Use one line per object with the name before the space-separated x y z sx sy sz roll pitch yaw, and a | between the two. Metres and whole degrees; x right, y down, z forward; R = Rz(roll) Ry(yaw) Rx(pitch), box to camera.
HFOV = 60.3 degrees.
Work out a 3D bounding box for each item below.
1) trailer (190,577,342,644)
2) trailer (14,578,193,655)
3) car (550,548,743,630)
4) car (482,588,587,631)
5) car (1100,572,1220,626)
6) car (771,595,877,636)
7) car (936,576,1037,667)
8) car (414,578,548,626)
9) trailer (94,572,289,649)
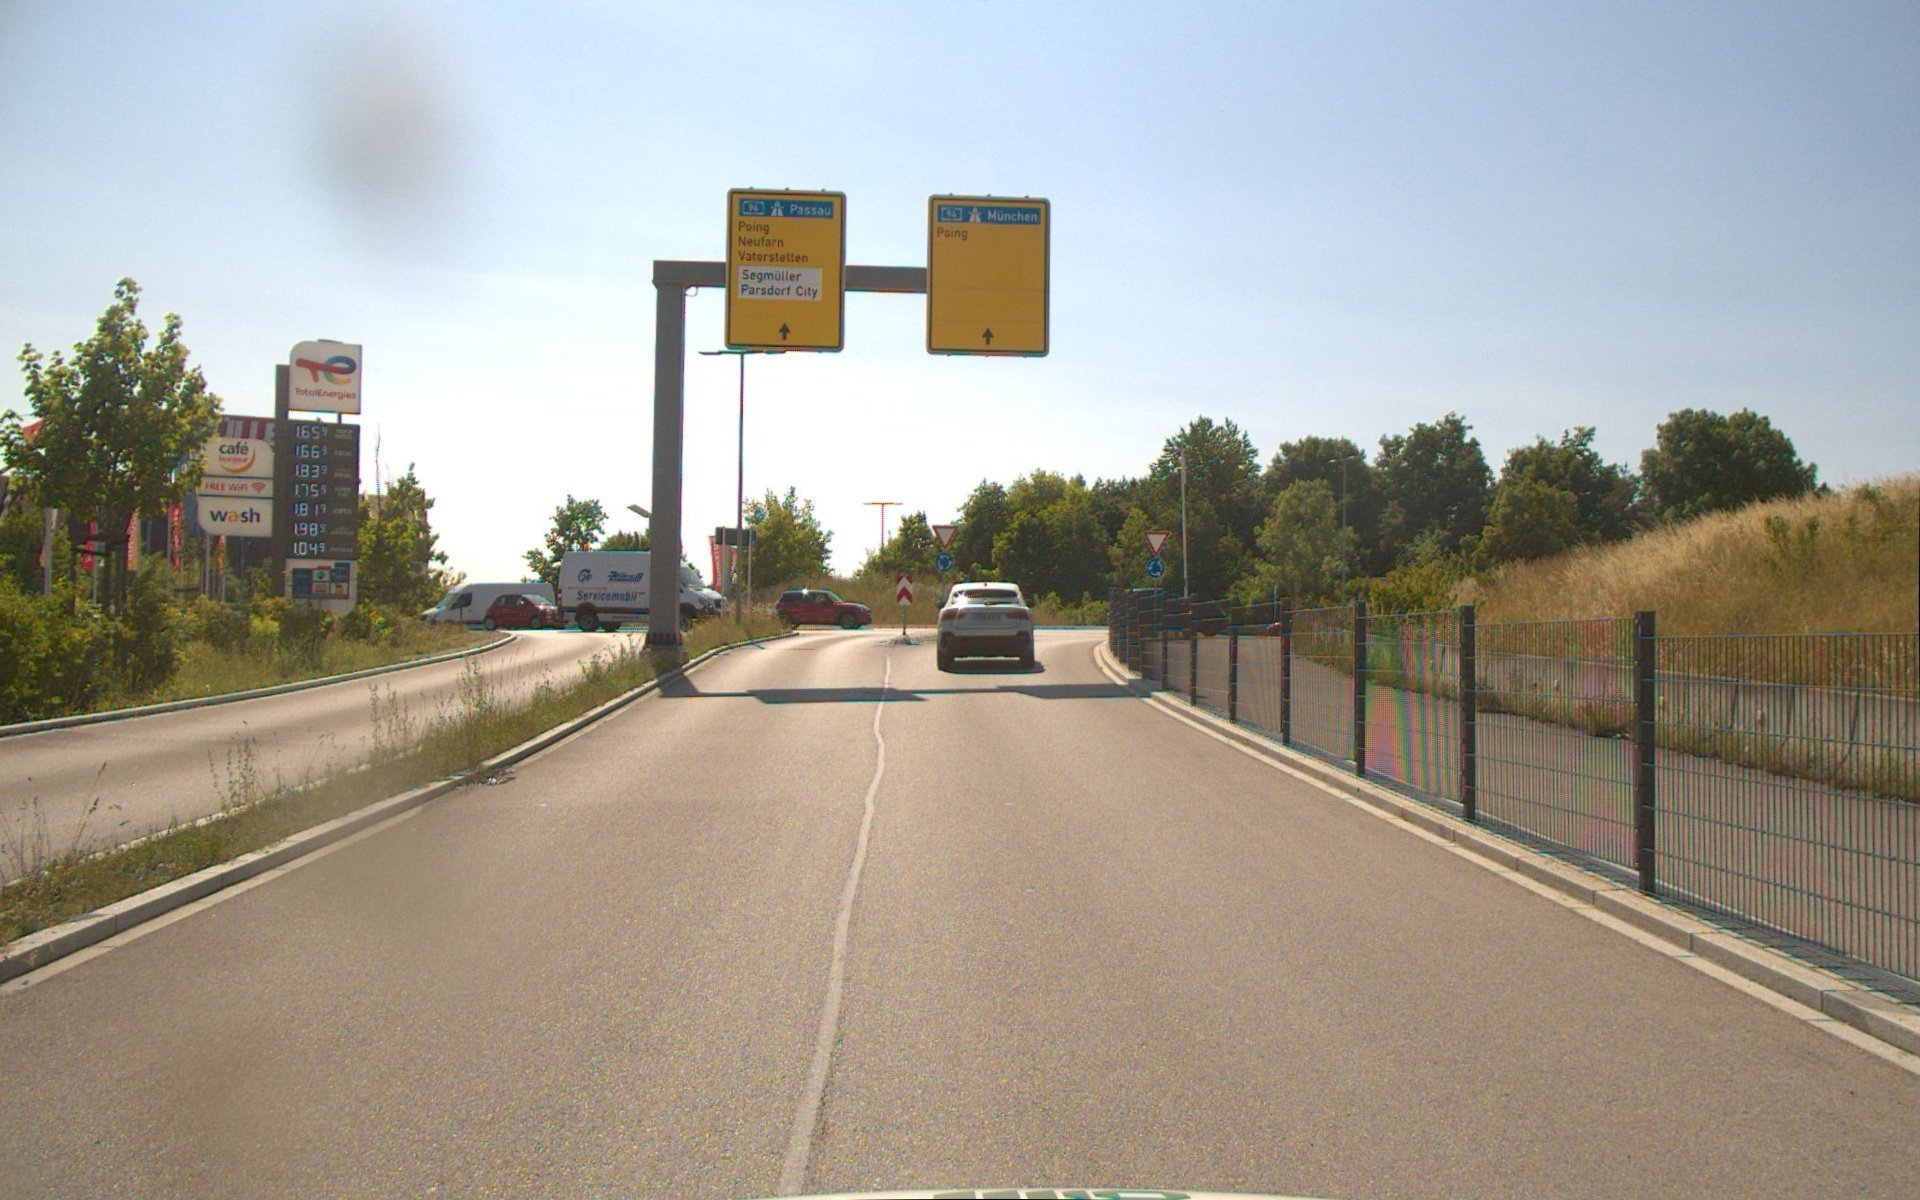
trailer | -19.616 0.268 46.819 3.659 1.803 1.783 -1 1 -38
trailer | -21.084 0.418 40.765 3.658 1.803 1.783 2 -1 -38
car | -10.572 -0.378 55.875 6.042 2.599 2.092 1 -1 15
car | -17.034 0.387 66.250 3.646 1.646 1.873 1 -1 21
car | 6.845 -0.036 56.906 3.769 1.747 1.998 1 0 -4
car | -5.122 0.581 62.638 3.724 1.430 1.627 1 0 7
car | 0.456 0.396 31.781 1.803 1.624 4.324 0 0 0
car | -24.035 0.122 83.173 6.221 2.273 2.008 2 -1 -43
trailer | -17.332 0.259 37.375 3.658 1.477 1.685 5 -3 -38
